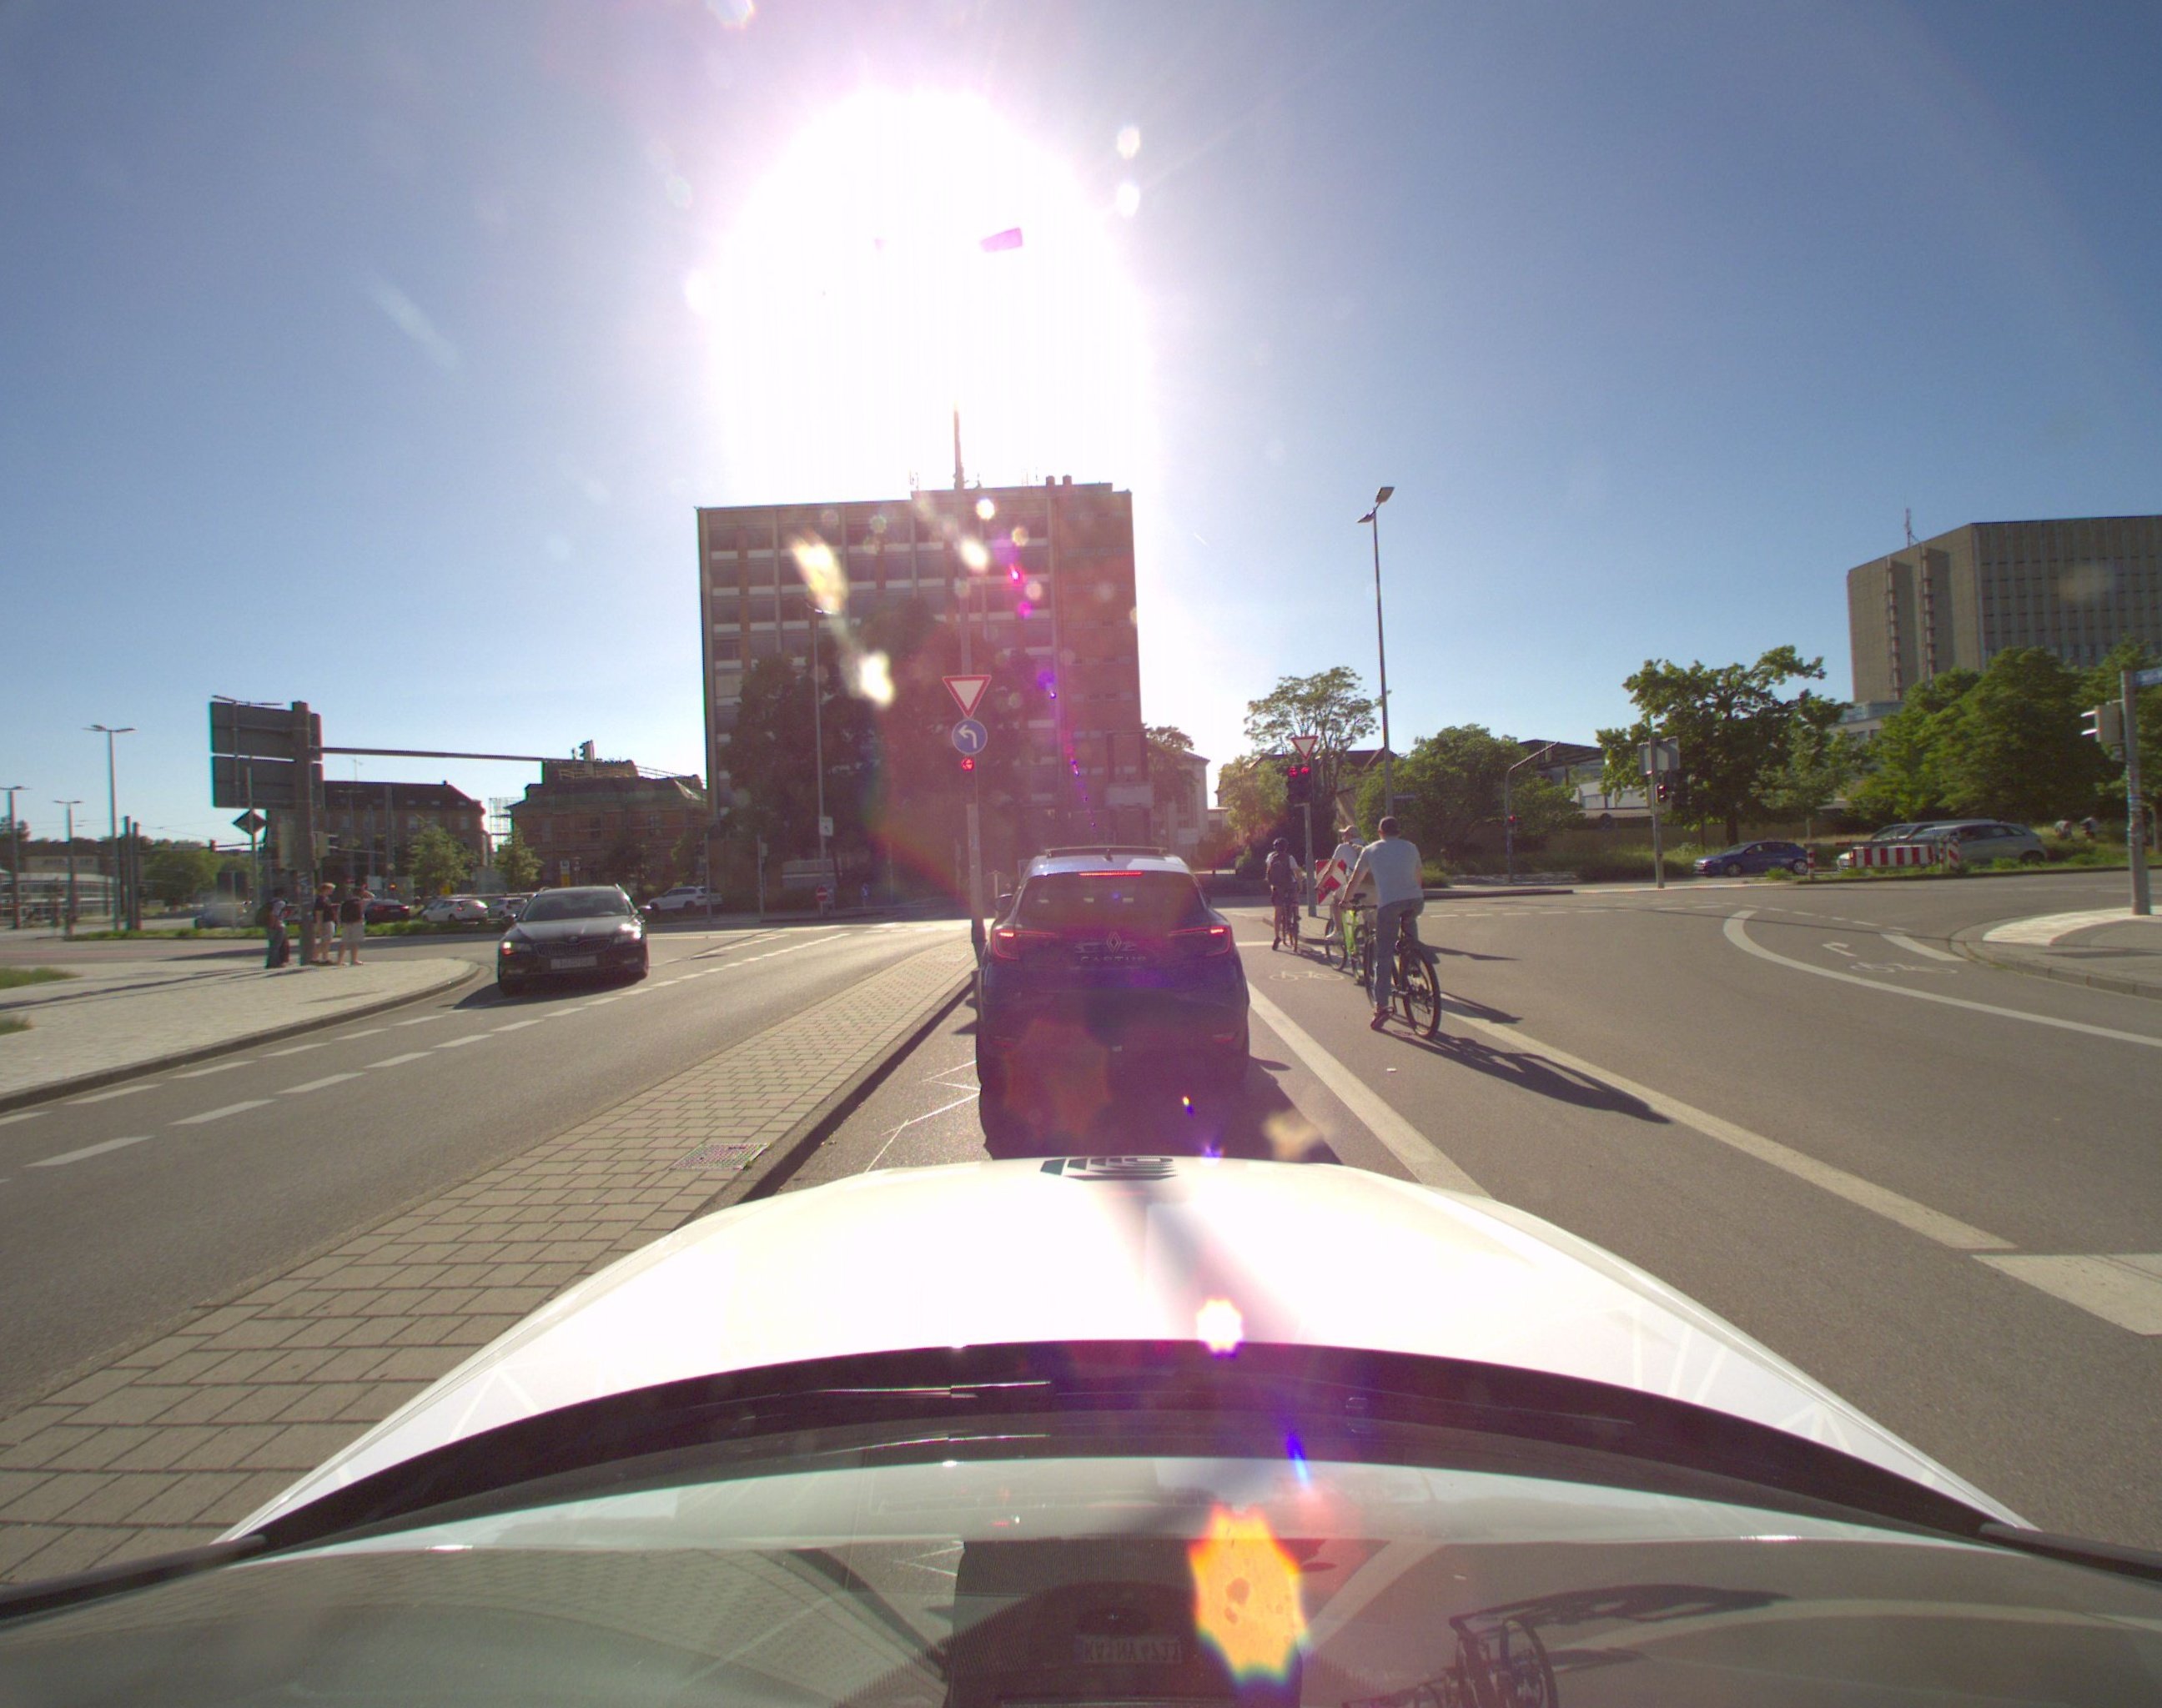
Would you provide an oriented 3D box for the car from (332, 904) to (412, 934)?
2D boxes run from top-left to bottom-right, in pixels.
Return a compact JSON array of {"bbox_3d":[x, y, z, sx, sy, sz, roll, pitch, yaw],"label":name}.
[{"bbox_3d":[-42.567,3.918,48.898,4.334,1.632,1.854,-3,-1,23],"label":"car"}]

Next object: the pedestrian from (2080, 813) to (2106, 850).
[{"bbox_3d":[49.872,-1.124,40.141,0.559,1.778,0.528,-2,-1,5],"label":"pedestrian"}]

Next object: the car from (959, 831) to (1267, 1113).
[{"bbox_3d":[0.200,0.706,6.806,1.798,1.632,3.999,-1,0,0],"label":"car"}]

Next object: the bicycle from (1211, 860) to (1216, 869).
[{"bbox_3d":[15.253,1.226,93.884,0.403,0.973,1.686,0,-1,6],"label":"bicycle"}]

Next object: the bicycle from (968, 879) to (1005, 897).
[{"bbox_3d":[-5.477,1.957,47.147,2.057,0.964,0.602,-3,-1,25],"label":"bicycle"}]

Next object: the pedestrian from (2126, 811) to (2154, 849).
[{"bbox_3d":[50.763,-1.153,39.028,0.559,1.778,0.528,-2,-1,5],"label":"pedestrian"}]

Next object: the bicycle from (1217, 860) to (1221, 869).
[{"bbox_3d":[15.871,1.221,93.825,0.403,0.973,1.686,0,-1,6],"label":"bicycle"}]

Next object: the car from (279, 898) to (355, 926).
[{"bbox_3d":[-48.463,3.682,51.651,4.334,1.632,1.854,-3,-1,23],"label":"car"}]

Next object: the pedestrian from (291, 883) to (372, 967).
[{"bbox_3d":[-17.045,1.587,18.536,0.697,1.800,1.107,-5,-3,16],"label":"pedestrian"}]

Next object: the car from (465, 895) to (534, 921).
[{"bbox_3d":[-37.380,3.462,52.347,3.804,1.435,1.752,-3,-1,20],"label":"car"}]

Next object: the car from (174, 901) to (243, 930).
[{"bbox_3d":[-55.165,3.905,51.475,4.331,1.632,1.855,-3,-1,27],"label":"car"}]

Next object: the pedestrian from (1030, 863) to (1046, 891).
[{"bbox_3d":[-2.490,1.337,47.410,0.732,1.603,0.601,-3,-1,14],"label":"pedestrian"}]

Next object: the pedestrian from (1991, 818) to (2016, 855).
[{"bbox_3d":[45.174,-0.852,39.892,0.559,1.778,0.528,-2,-1,5],"label":"pedestrian"}]

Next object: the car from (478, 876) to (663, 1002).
[{"bbox_3d":[-7.983,1.203,13.193,1.822,1.505,4.745,-4,0,-24],"label":"car"}]

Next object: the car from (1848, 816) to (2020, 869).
[{"bbox_3d":[35.248,-0.443,33.764,4.856,2.107,2.002,0,-1,4],"label":"car"}]

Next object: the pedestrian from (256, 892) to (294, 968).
[{"bbox_3d":[-19.240,1.799,19.435,0.600,1.729,0.572,-2,-1,-45],"label":"pedestrian"}]

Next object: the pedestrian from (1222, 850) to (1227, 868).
[{"bbox_3d":[16.209,0.600,92.186,0.473,2.014,0.469,-2,-1,8],"label":"pedestrian"}]

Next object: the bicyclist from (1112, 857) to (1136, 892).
[{"bbox_3d":[2.333,1.105,43.839,1.094,1.867,0.655,-3,-1,12],"label":"bicyclist"}]

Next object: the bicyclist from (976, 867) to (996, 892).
[{"bbox_3d":[-5.498,1.478,47.152,0.928,1.429,0.602,-3,-1,26],"label":"bicyclist"}]

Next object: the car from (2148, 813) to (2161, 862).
[{"bbox_3d":[36.982,-0.626,25.352,4.713,1.584,2.002,-2,-1,3],"label":"car"}]

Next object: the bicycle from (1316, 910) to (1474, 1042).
[{"bbox_3d":[2.717,1.017,7.299,0.737,0.896,1.980,0,-1,3],"label":"bicycle"}]

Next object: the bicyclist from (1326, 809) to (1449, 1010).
[{"bbox_3d":[2.709,0.469,7.299,0.748,1.668,1.017,0,-1,3],"label":"bicyclist"}]

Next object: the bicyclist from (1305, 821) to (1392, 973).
[{"bbox_3d":[3.211,0.492,9.853,0.644,1.739,1.065,0,-1,-4],"label":"bicyclist"}]

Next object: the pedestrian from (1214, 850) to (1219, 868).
[{"bbox_3d":[15.097,0.597,90.861,0.473,2.014,0.524,-2,-1,8],"label":"pedestrian"}]

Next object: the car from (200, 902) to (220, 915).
[{"bbox_3d":[-150.492,9.427,140.680,3.948,2.013,2.013,-3,-1,38],"label":"car"}]

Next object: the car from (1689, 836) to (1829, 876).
[{"bbox_3d":[28.213,0.098,34.011,4.140,1.435,1.747,-2,-1,8],"label":"car"}]

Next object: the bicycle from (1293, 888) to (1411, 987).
[{"bbox_3d":[3.211,0.953,9.855,0.657,1.003,1.967,0,-1,-4],"label":"bicycle"}]

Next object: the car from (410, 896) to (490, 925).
[{"bbox_3d":[-35.001,3.112,45.214,3.803,1.435,1.752,-2,-1,21],"label":"car"}]

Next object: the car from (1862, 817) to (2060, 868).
[{"bbox_3d":[28.137,-0.341,26.169,4.025,1.408,1.872,-2,-1,8],"label":"car"}]

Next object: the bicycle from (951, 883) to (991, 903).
[{"bbox_3d":[-5.931,2.110,44.029,2.016,0.964,0.593,-2,-1,-25],"label":"bicycle"}]

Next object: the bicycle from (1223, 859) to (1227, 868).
[{"bbox_3d":[16.649,1.075,94.176,0.403,0.973,1.686,0,-1,6],"label":"bicycle"}]

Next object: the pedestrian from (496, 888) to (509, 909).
[{"bbox_3d":[-46.289,3.557,65.176,0.541,1.615,0.653,-3,-1,41],"label":"pedestrian"}]

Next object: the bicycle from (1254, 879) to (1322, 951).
[{"bbox_3d":[3.244,0.925,12.937,0.735,0.995,2.177,0,-1,6],"label":"bicycle"}]

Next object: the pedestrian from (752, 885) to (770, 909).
[{"bbox_3d":[-21.291,2.859,54.178,0.853,1.571,0.562,-5,-1,20],"label":"pedestrian"}]

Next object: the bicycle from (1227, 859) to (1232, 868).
[{"bbox_3d":[17.183,1.071,94.176,0.403,0.973,1.686,0,-1,6],"label":"bicycle"}]

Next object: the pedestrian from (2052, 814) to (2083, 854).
[{"bbox_3d":[46.924,-0.940,38.736,0.559,1.848,0.714,-2,-1,5],"label":"pedestrian"}]

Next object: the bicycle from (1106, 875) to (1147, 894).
[{"bbox_3d":[2.463,1.640,43.970,2.067,0.930,0.698,-3,1,13],"label":"bicycle"}]

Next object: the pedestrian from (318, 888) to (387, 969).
[{"bbox_3d":[-16.259,1.646,18.193,0.786,1.690,0.792,-5,-3,15],"label":"pedestrian"}]

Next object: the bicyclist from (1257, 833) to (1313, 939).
[{"bbox_3d":[3.234,0.498,12.990,0.722,1.629,0.970,0,-1,6],"label":"bicyclist"}]

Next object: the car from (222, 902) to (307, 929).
[{"bbox_3d":[-48.617,3.654,48.495,4.841,1.388,1.854,-3,-1,23],"label":"car"}]

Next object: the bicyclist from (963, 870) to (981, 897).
[{"bbox_3d":[-5.894,1.594,44.057,0.741,1.441,0.593,-2,-1,-25],"label":"bicyclist"}]

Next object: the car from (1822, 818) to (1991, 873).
[{"bbox_3d":[30.817,-0.294,30.538,3.962,1.815,2.006,-2,-1,10],"label":"car"}]

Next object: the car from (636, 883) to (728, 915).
[{"bbox_3d":[-22.872,2.582,46.703,4.784,1.632,1.853,-2,-1,19],"label":"car"}]

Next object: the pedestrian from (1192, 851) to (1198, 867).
[{"bbox_3d":[13.591,0.613,97.380,0.621,1.856,0.563,-2,-1,3],"label":"pedestrian"}]

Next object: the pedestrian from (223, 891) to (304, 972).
[{"bbox_3d":[-18.136,1.702,18.084,0.900,1.690,0.839,-4,-3,-3],"label":"pedestrian"}]
